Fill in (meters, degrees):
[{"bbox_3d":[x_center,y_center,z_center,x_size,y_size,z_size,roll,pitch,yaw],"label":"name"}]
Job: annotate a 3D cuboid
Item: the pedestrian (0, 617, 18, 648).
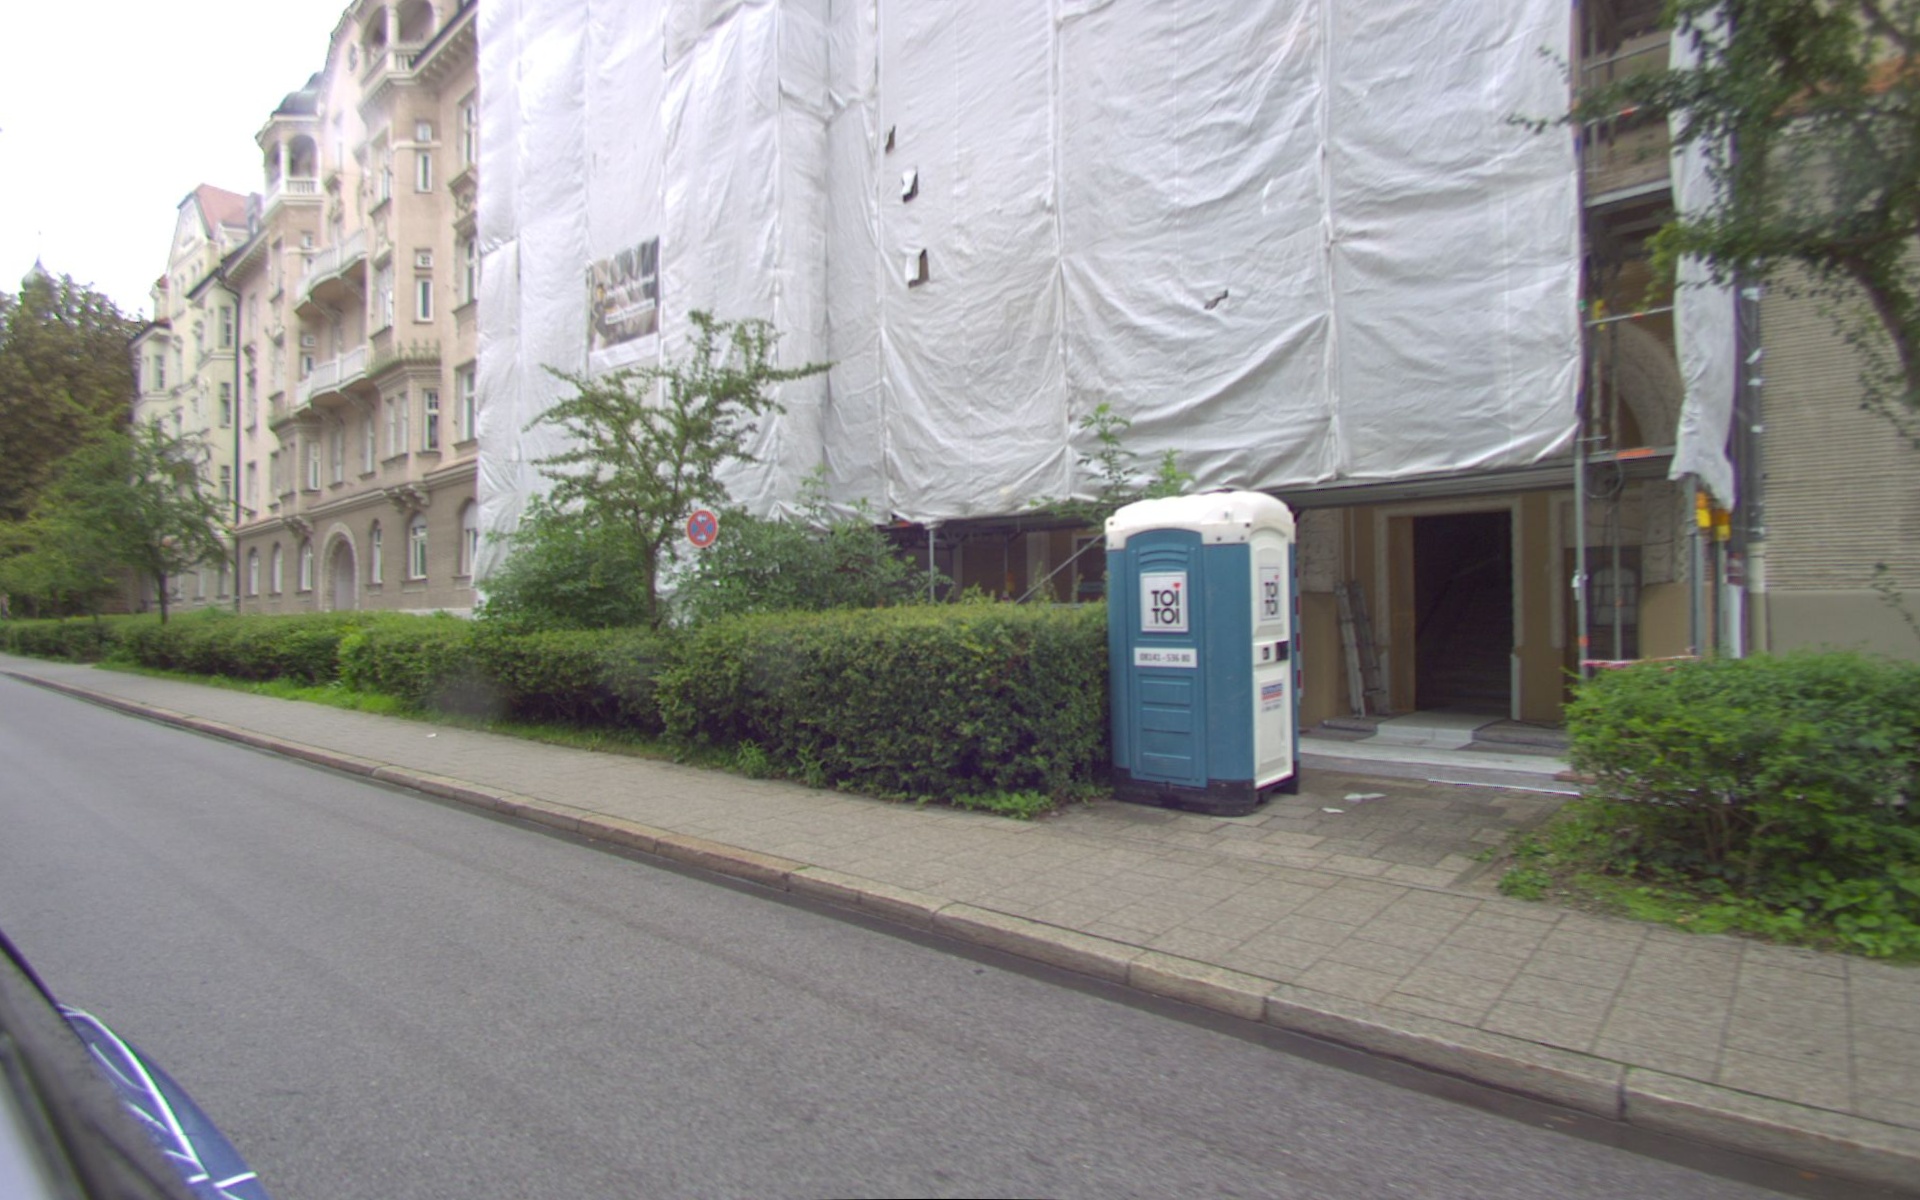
[{"bbox_3d":[-54.733,1.846,57.998,0.773,1.758,0.878,0,-1,-17],"label":"pedestrian"}]
